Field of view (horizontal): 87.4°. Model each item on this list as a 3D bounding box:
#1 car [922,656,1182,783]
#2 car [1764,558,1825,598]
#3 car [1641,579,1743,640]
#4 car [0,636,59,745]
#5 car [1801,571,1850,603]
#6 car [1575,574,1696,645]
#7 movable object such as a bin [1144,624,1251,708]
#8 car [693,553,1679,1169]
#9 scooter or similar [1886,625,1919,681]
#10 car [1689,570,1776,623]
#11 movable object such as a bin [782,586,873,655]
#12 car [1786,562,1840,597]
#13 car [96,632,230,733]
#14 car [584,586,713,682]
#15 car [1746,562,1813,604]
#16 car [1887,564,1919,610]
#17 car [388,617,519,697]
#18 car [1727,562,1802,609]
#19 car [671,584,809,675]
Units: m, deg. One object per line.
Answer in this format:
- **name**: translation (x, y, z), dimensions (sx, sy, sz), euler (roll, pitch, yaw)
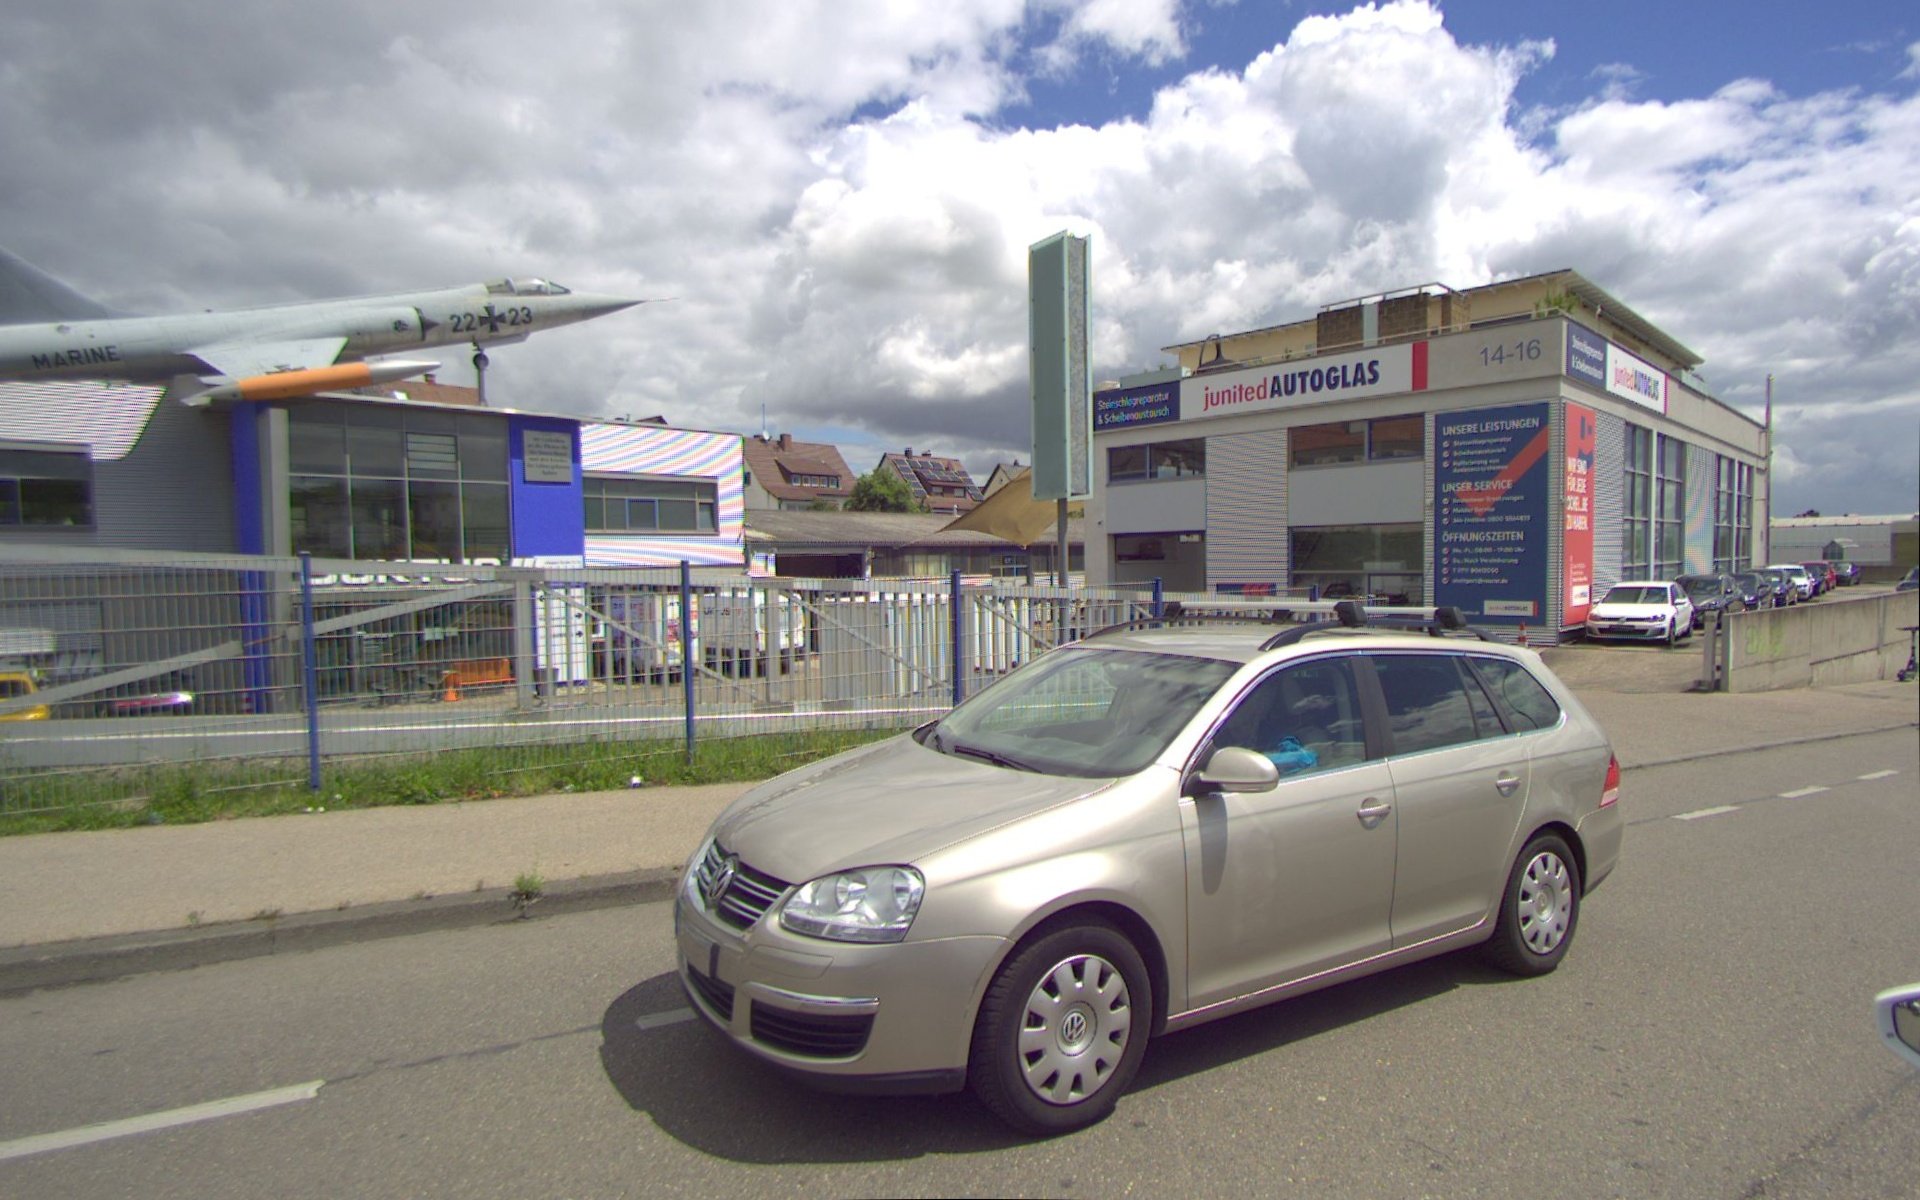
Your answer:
- **car**: translation (1.293, 1.553, 13.798), dimensions (3.322, 1.479, 1.424), euler (2, 0, -29)
- **car**: translation (38.744, -0.983, 46.593), dimensions (4.086, 1.658, 1.788), euler (2, 0, -45)
- **car**: translation (21.472, 0.290, 29.409), dimensions (4.086, 1.658, 1.788), euler (2, 0, -45)
- **car**: translation (-20.706, 1.888, 21.398), dimensions (4.558, 1.723, 1.914), euler (4, 6, 44)
- **car**: translation (49.897, -0.745, 57.879), dimensions (4.086, 1.658, 1.788), euler (2, 0, -45)
- **car**: translation (17.248, 0.262, 25.573), dimensions (4.086, 1.658, 1.788), euler (2, 0, -45)
- **movable object such as a bin**: translation (3.946, 1.089, 16.713), dimensions (1.219, 1.323, 1.213), euler (1, -4, -34)
- **car**: translation (1.163, 0.702, 4.326), dimensions (4.174, 1.553, 1.634), euler (2, 0, -31)
- **scooter or similar**: translation (22.675, 1.262, 24.002), dimensions (1.293, 1.293, 0.553), euler (2, 0, -36)
- **car**: translation (26.106, -0.101, 33.901), dimensions (4.086, 1.658, 1.788), euler (2, 0, -45)
- **movable object such as a bin**: translation (-4.902, 0.702, 37.439), dimensions (3.125, 2.382, 1.415), euler (-2, 3, -45)
- **car**: translation (44.746, -1.068, 52.683), dimensions (4.086, 1.658, 1.788), euler (2, 0, -45)
- **car**: translation (-18.662, 1.820, 23.456), dimensions (4.558, 1.801, 1.847), euler (2, 4, 45)
- **car**: translation (-9.788, 0.938, 31.375), dimensions (1.978, 2.636, 4.672), euler (-4, 4, -42)
- **car**: translation (35.202, -0.704, 43.122), dimensions (4.086, 1.658, 1.788), euler (2, 0, -45)
- **car**: translation (37.757, -0.484, 39.389), dimensions (4.076, 1.658, 1.789), euler (2, 0, -43)
- **car**: translation (-14.224, 1.504, 28.094), dimensions (4.558, 1.801, 1.847), euler (2, 4, 45)
- **car**: translation (31.018, -0.523, 38.672), dimensions (4.086, 1.658, 1.788), euler (2, 0, -45)
- **car**: translation (-7.187, 0.846, 32.575), dimensions (4.553, 2.636, 1.982), euler (2, 4, 41)
